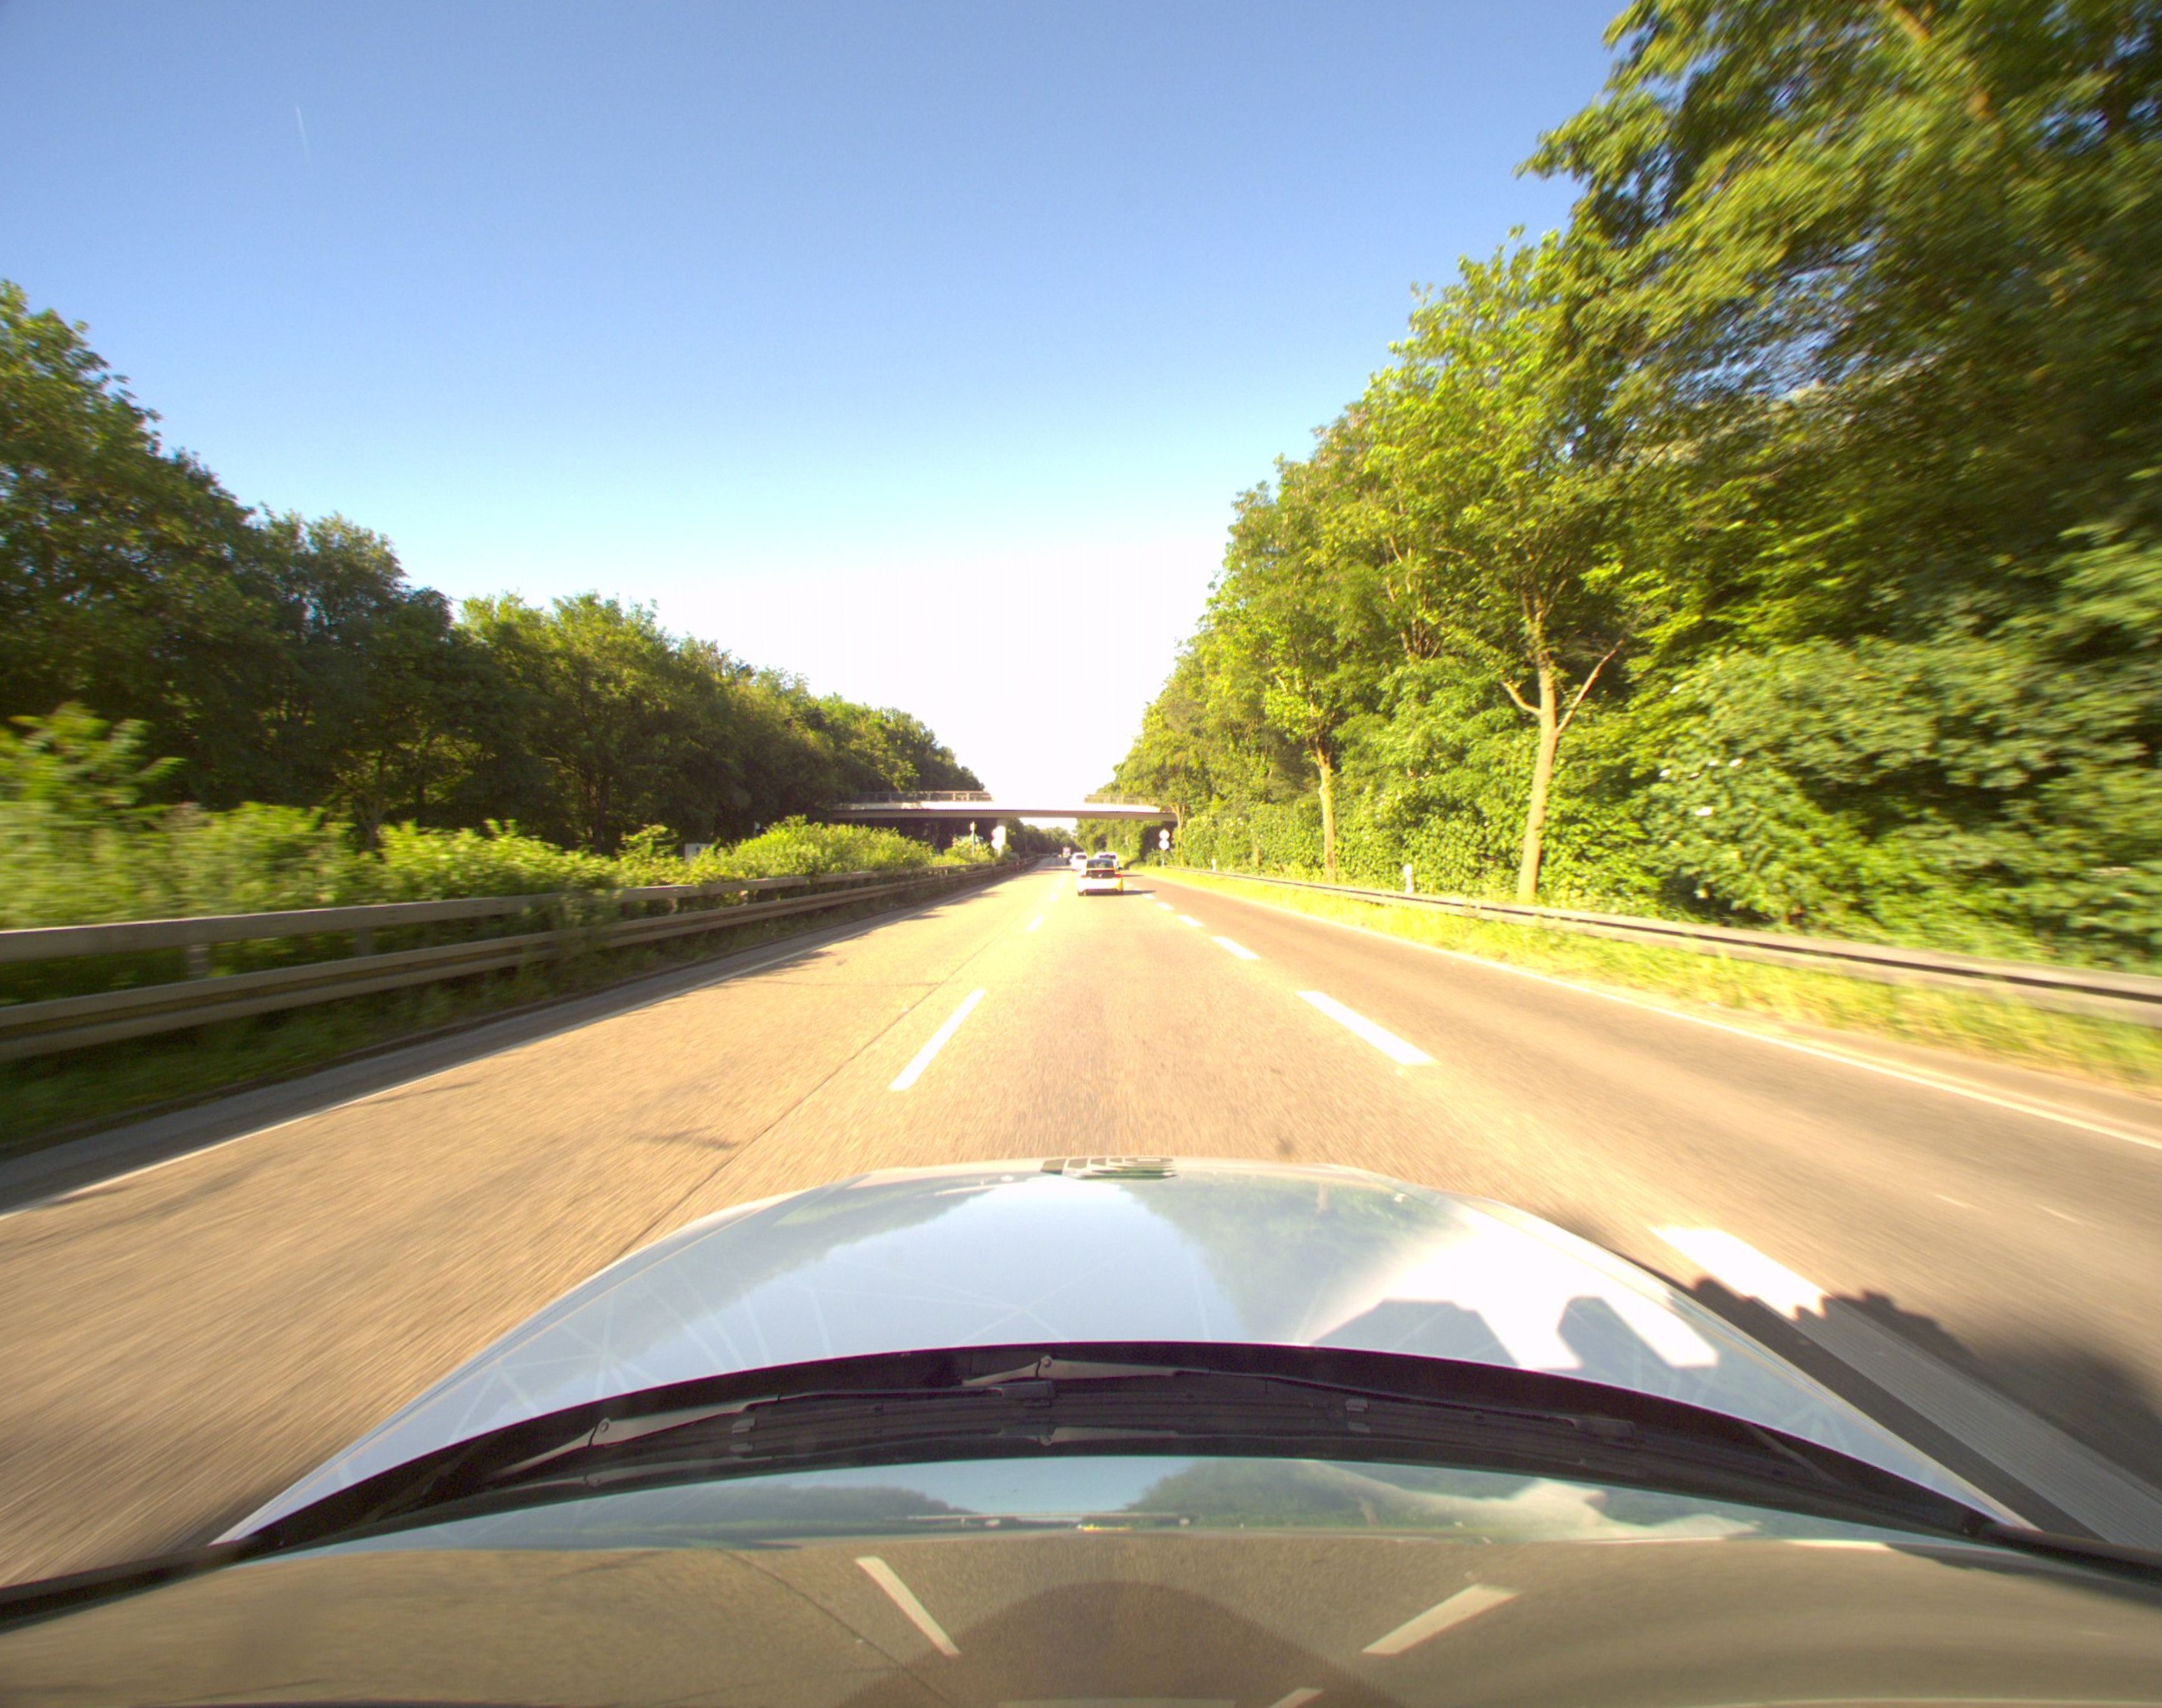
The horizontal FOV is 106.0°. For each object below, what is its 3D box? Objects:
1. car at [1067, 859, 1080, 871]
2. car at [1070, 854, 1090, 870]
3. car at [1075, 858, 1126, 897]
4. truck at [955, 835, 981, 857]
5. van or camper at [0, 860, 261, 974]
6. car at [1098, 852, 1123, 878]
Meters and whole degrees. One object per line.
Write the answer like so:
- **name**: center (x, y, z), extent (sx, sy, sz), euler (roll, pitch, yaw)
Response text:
- **car**: center (-1.159, 1.587, 122.948), extent (1.988, 1.750, 4.370), euler (0, -1, -1)
- **car**: center (-0.054, 0.766, 81.733), extent (1.933, 1.545, 3.422), euler (0, -1, 0)
- **car**: center (0.792, 0.913, 32.883), extent (1.932, 1.508, 3.423), euler (0, -1, 2)
- **truck**: center (-16.499, -1.122, 119.304), extent (2.921, 3.168, 7.080), euler (0, -1, -1)
- **van or camper**: center (-20.370, 1.155, 16.223), extent (1.869, 2.014, 5.941), euler (0, 0, 2)
- **car**: center (2.159, 0.806, 60.505), extent (1.735, 1.830, 3.423), euler (2, 0, 2)
